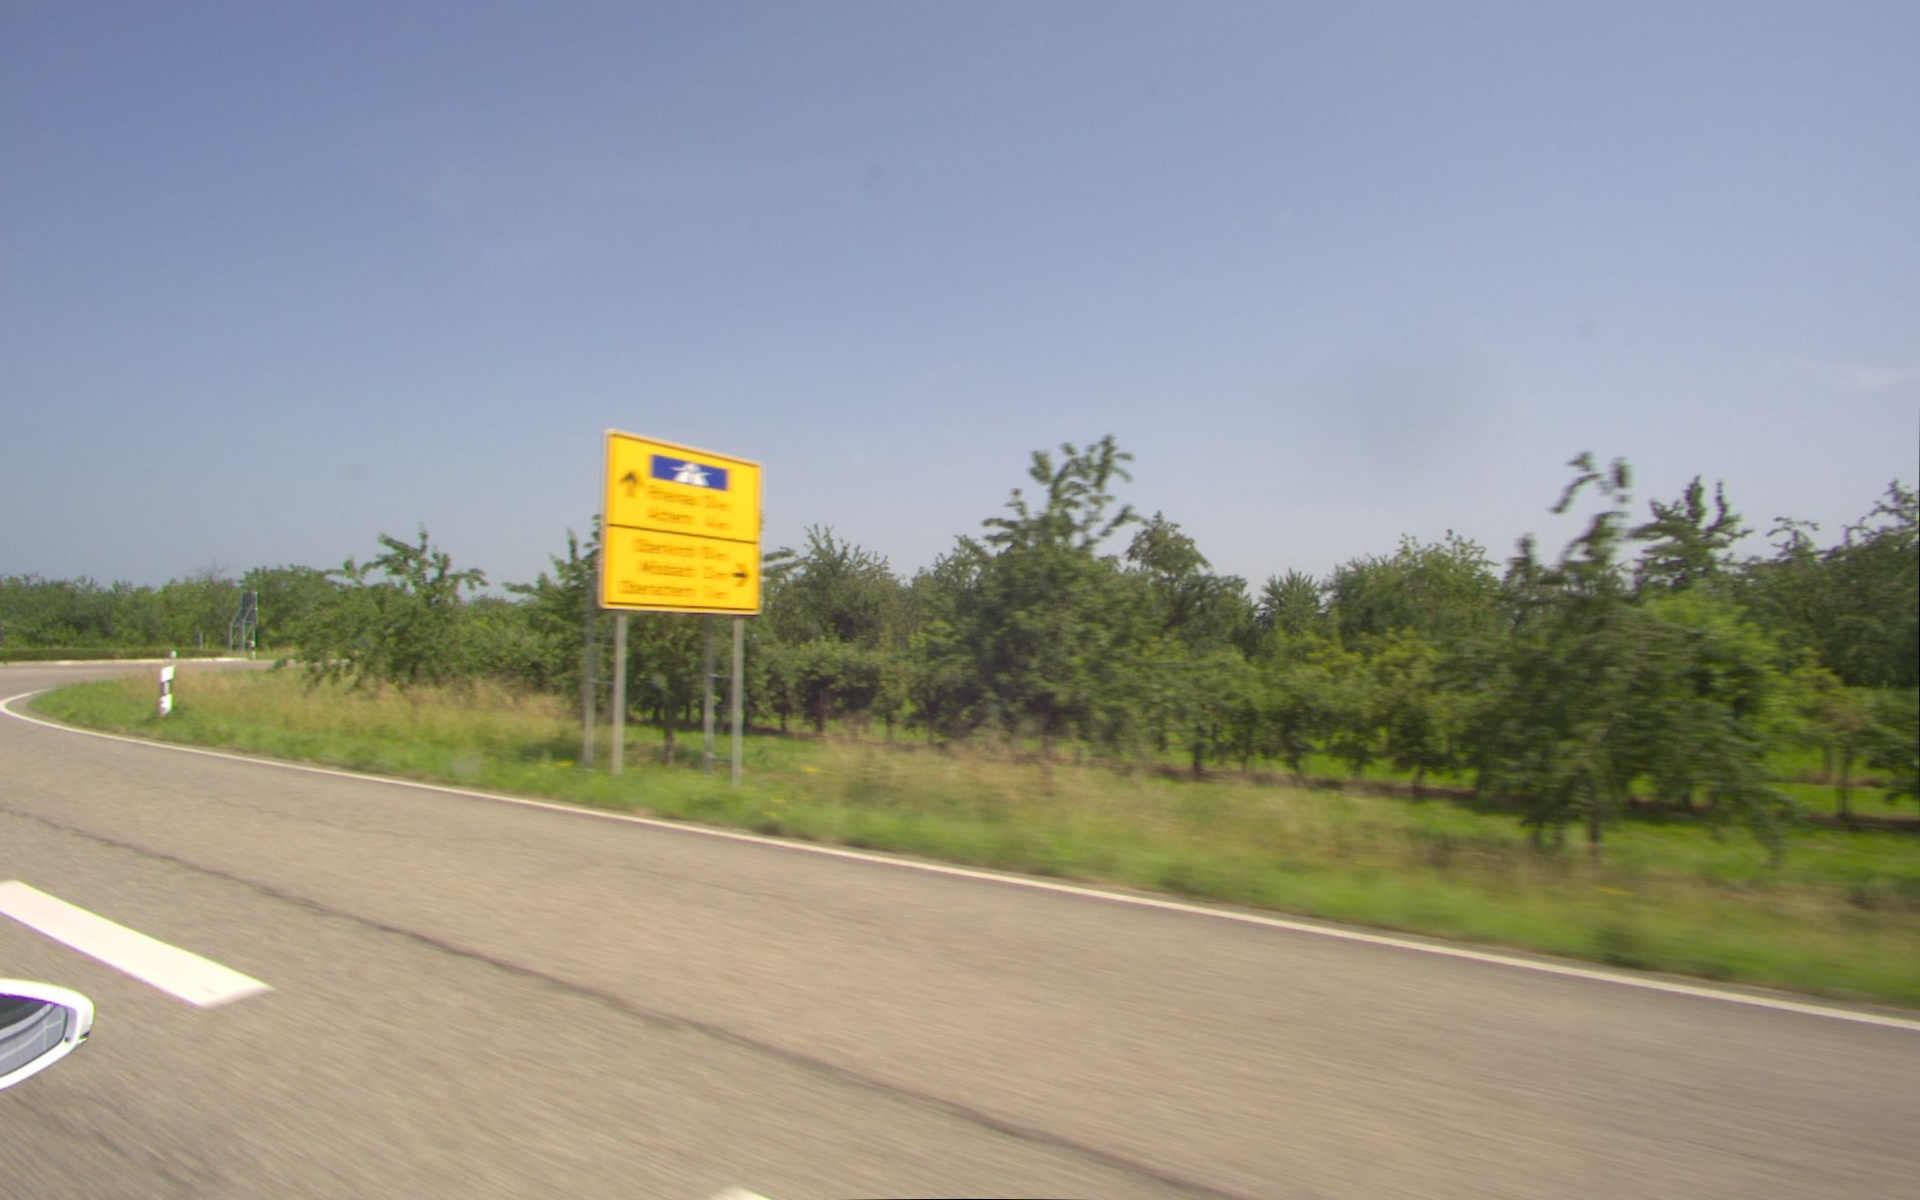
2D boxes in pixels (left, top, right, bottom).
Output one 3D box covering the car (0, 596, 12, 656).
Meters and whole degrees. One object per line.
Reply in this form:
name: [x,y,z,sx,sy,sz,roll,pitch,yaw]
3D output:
car: [-44.220,1.138,42.072,6.244,2.608,2.044,0,-1,-41]
